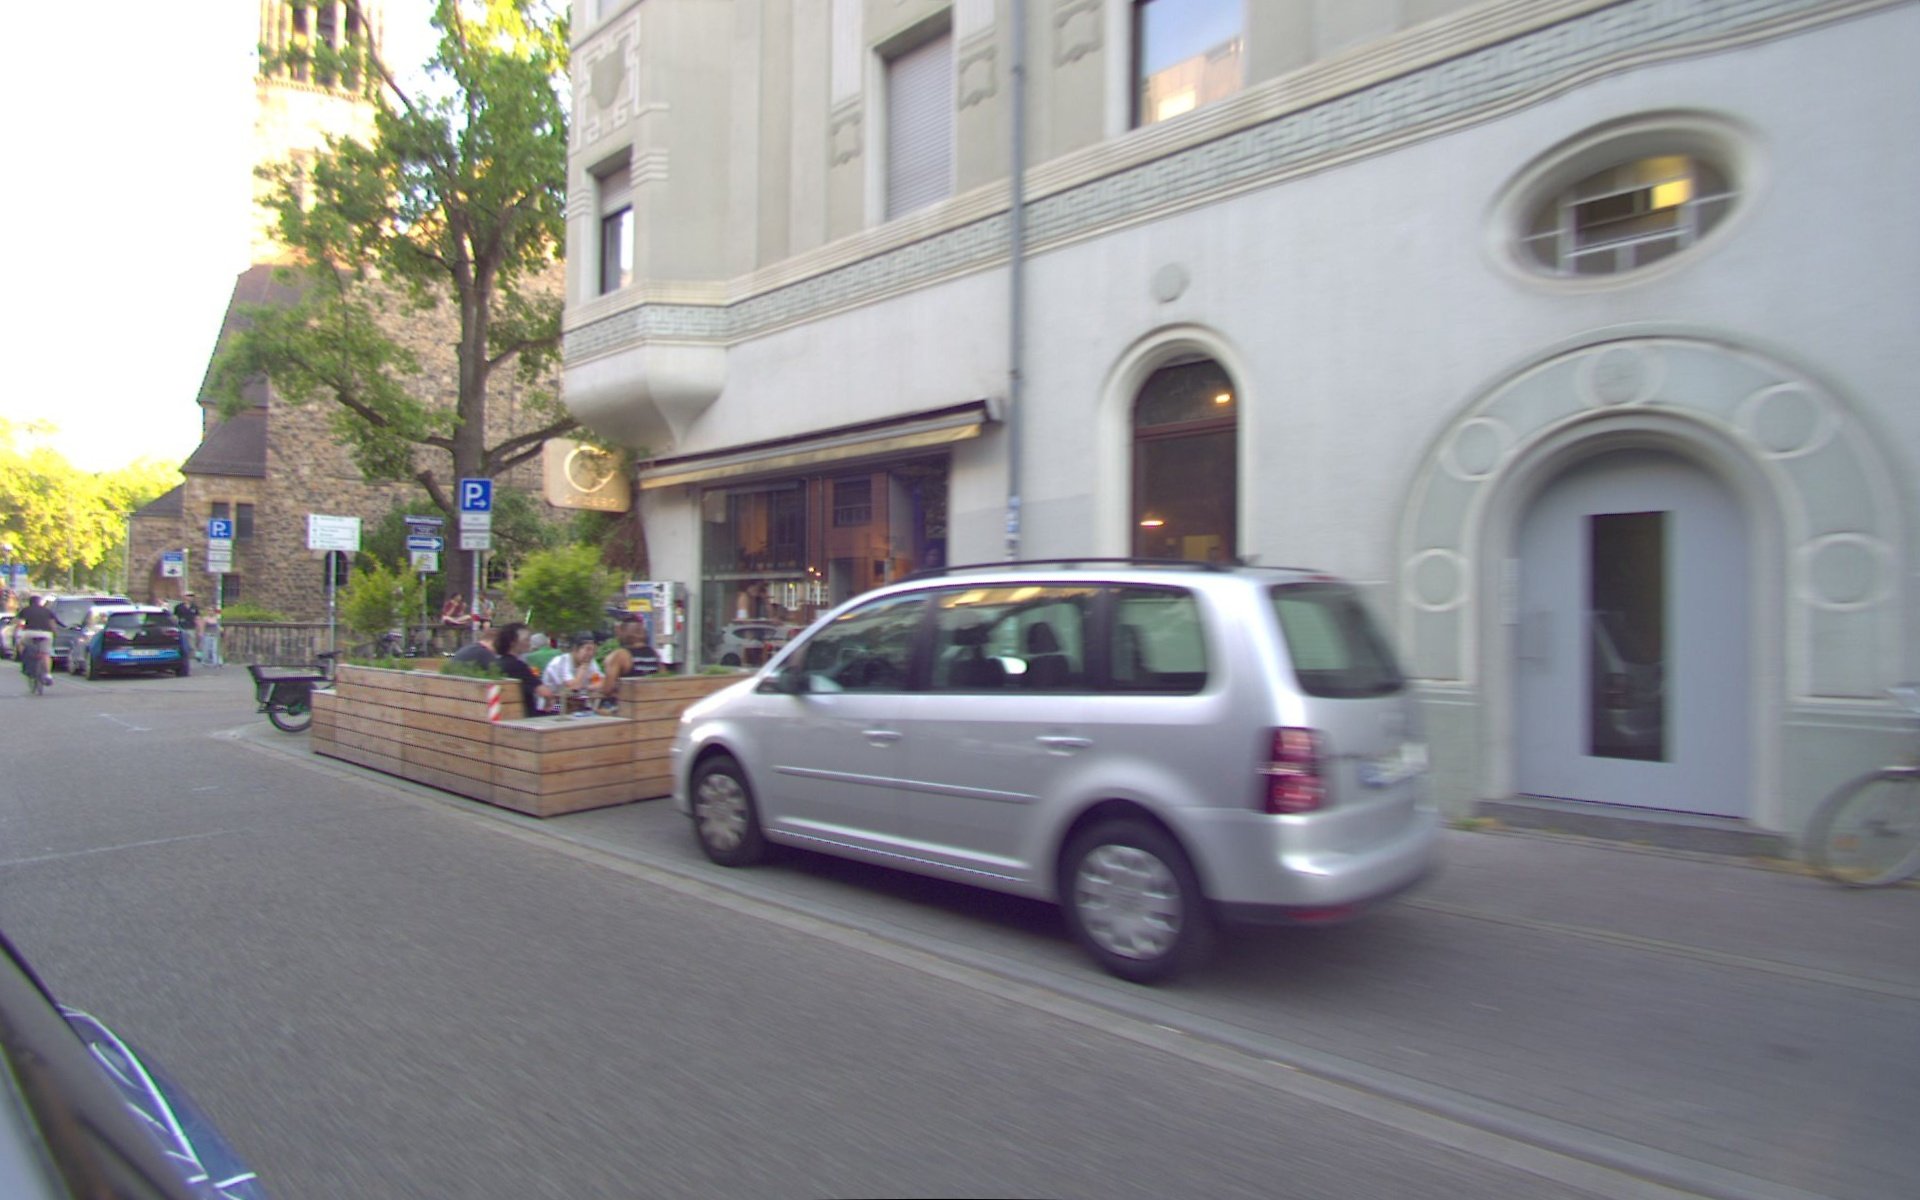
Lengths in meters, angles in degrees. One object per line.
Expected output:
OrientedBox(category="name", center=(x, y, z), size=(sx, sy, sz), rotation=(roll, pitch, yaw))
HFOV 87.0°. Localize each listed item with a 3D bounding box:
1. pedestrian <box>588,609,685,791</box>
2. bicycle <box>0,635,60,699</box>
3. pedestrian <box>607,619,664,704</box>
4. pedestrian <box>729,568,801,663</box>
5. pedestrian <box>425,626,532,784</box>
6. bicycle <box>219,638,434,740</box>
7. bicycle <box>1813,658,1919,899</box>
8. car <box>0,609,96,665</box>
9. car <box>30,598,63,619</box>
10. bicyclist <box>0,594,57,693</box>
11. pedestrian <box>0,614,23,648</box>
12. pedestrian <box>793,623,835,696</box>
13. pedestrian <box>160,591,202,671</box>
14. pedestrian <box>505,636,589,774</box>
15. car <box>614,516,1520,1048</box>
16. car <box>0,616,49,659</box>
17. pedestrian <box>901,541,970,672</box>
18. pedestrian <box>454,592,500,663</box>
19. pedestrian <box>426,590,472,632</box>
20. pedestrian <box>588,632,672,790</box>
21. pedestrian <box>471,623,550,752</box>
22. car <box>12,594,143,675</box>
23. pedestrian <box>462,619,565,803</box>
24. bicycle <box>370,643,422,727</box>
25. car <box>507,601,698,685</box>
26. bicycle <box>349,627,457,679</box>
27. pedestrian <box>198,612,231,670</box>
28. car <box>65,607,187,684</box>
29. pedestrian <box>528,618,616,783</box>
OrientedBox(category="pedestrian", center=(-2.550, 0.757, 7.977), size=(0.539, 1.360, 0.512), rotation=(-1, -2, 38))
OrientedBox(category="bicycle", center=(-16.529, 1.158, 17.949), size=(1.903, 1.048, 0.608), rotation=(-1, -2, 42))
OrientedBox(category="pedestrian", center=(-6.078, 1.135, 18.966), size=(0.783, 1.552, 0.694), rotation=(-1, -3, 40))
OrientedBox(category="pedestrian", center=(-2.474, 0.192, 12.813), size=(0.747, 1.162, 0.551), rotation=(-1, -2, 40))
OrientedBox(category="pedestrian", center=(-4.332, 0.909, 9.104), size=(0.770, 1.335, 0.603), rotation=(-1, -2, 40))
OrientedBox(category="bicycle", center=(-7.374, 1.011, 11.887), size=(2.080, 1.103, 0.502), rotation=(0, -2, -24))
OrientedBox(category="bicycle", center=(5.171, 0.849, 4.542), size=(2.028, 1.104, 0.554), rotation=(-1, -1, 42))
OrientedBox(category="car", center=(-27.992, 1.099, 30.786), size=(4.465, 1.604, 1.852), rotation=(-1, -2, 40))
OrientedBox(category="car", center=(-89.240, 0.857, 98.925), size=(1.837, 2.029, 3.820), rotation=(2, -2, -34))
OrientedBox(category="bicyclist", center=(-16.523, 0.756, 17.953), size=(1.142, 1.697, 0.596), rotation=(-1, -2, 42))
OrientedBox(category="pedestrian", center=(-48.484, 1.575, 51.702), size=(0.689, 1.738, 0.708), rotation=(-1, -2, 32))
OrientedBox(category="pedestrian", center=(-3.094, 1.244, 21.470), size=(0.644, 1.512, 0.566), rotation=(-1, -3, 40))
OrientedBox(category="pedestrian", center=(-18.959, 0.758, 24.634), size=(0.802, 1.920, 0.576), rotation=(-1, -2, 38))
OrientedBox(category="pedestrian", center=(-4.231, 1.043, 10.361), size=(0.705, 1.335, 0.531), rotation=(-1, -2, 42))
OrientedBox(category="car", center=(0.249, 0.574, 5.224), size=(4.312, 1.603, 1.973), rotation=(-1, -1, 41))
OrientedBox(category="car", center=(-33.917, 1.308, 36.072), size=(4.315, 1.446, 1.764), rotation=(-1, -2, 43))
OrientedBox(category="pedestrian", center=(-0.260, 0.074, 10.829), size=(0.518, 1.360, 0.533), rotation=(-1, -2, 42))
OrientedBox(category="pedestrian", center=(-11.929, 0.678, 25.008), size=(0.836, 1.734, 0.699), rotation=(-1, -3, 40))
OrientedBox(category="pedestrian", center=(-12.320, 0.277, 24.419), size=(0.836, 0.988, 0.699), rotation=(-1, -2, 40))
OrientedBox(category="pedestrian", center=(-2.976, 0.970, 9.124), size=(0.610, 1.360, 0.463), rotation=(-1, -2, 40))
OrientedBox(category="pedestrian", center=(-4.876, 0.921, 10.972), size=(0.705, 1.335, 0.531), rotation=(-1, -2, 42))
OrientedBox(category="car", center=(-22.782, 0.859, 26.042), size=(5.289, 1.881, 1.972), rotation=(-1, -2, 43))
OrientedBox(category="pedestrian", center=(-3.488, 0.828, 7.904), size=(0.668, 1.360, 0.479), rotation=(-1, -2, 40))
OrientedBox(category="bicycle", center=(-7.397, 1.084, 13.251), size=(0.417, 1.020, 1.722), rotation=(1, -3, -35))
OrientedBox(category="car", center=(-8.635, 1.030, 24.644), size=(1.892, 1.858, 3.941), rotation=(-1, -3, 44))
OrientedBox(category="bicycle", center=(-12.894, 1.218, 23.475), size=(0.555, 1.142, 2.116), rotation=(-1, -2, 42))
OrientedBox(category="pedestrian", center=(-18.503, 1.014, 25.111), size=(0.659, 1.416, 0.526), rotation=(-1, -1, 42))
OrientedBox(category="car", center=(-18.645, 0.970, 22.563), size=(4.005, 1.567, 1.622), rotation=(-1, -2, 44))
OrientedBox(category="pedestrian", center=(-3.360, 0.839, 8.759), size=(0.610, 1.360, 0.463), rotation=(-1, -2, 40))
